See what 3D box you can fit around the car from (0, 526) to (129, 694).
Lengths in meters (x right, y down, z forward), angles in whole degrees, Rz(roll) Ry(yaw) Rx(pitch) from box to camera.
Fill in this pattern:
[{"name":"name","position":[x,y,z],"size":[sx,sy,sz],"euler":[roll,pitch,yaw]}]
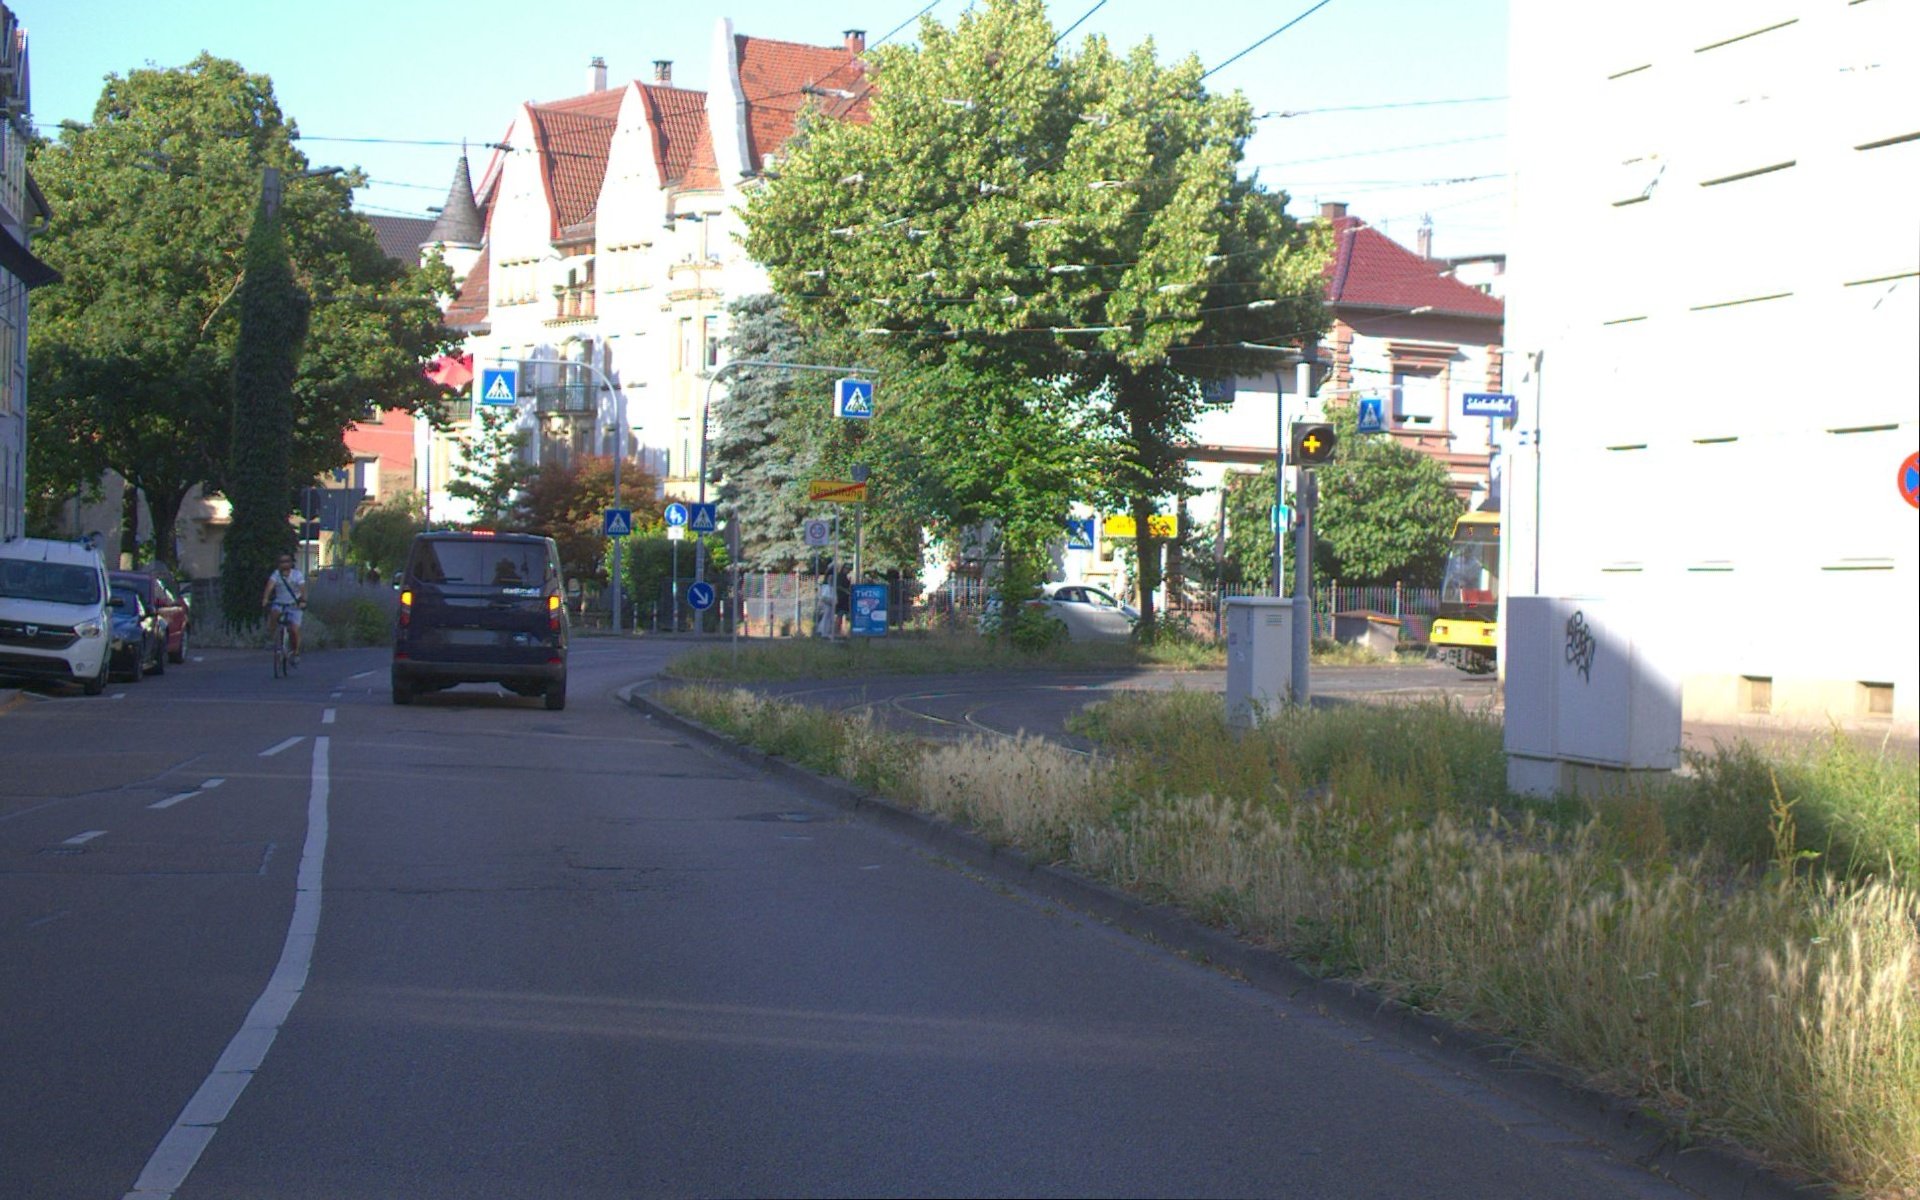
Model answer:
[{"name":"car","position":[-11.189,0.105,41.959],"size":[1.810,1.863,4.334],"euler":[4,-1,-12]}]

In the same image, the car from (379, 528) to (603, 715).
[{"name":"car","position":[-5.430,0.230,40.279],"size":[1.993,2.007,4.000],"euler":[2,0,0]}]

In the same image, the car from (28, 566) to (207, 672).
[{"name":"car","position":[-12.950,0.260,53.072],"size":[1.709,1.461,4.592],"euler":[4,0,-2]}]

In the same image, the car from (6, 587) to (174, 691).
[{"name":"car","position":[-11.864,0.529,47.096],"size":[1.664,1.269,4.026],"euler":[4,-1,-7]}]

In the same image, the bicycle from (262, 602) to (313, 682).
[{"name":"bicycle","position":[-9.301,0.576,47.574],"size":[0.622,1.078,1.784],"euler":[1,0,-9]}]

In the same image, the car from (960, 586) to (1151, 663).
[{"name":"car","position":[1.949,0.482,69.757],"size":[1.963,1.500,3.676],"euler":[1,0,42]}]

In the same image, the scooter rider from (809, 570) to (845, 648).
[{"name":"scooter rider","position":[-2.909,0.196,75.112],"size":[0.606,1.667,0.655],"euler":[1,0,-17]}]

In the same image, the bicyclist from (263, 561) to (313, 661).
[{"name":"bicyclist","position":[-9.300,0.153,47.608],"size":[0.622,1.375,0.801],"euler":[1,-1,-9]}]

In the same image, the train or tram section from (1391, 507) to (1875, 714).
[{"name":"train or tram section","position":[12.579,0.253,63.575],"size":[9.889,3.543,2.784],"euler":[2,0,-37]}]

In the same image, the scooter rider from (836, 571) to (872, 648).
[{"name":"scooter rider","position":[-2.320,0.215,75.296],"size":[0.606,1.667,0.655],"euler":[1,0,-17]}]
